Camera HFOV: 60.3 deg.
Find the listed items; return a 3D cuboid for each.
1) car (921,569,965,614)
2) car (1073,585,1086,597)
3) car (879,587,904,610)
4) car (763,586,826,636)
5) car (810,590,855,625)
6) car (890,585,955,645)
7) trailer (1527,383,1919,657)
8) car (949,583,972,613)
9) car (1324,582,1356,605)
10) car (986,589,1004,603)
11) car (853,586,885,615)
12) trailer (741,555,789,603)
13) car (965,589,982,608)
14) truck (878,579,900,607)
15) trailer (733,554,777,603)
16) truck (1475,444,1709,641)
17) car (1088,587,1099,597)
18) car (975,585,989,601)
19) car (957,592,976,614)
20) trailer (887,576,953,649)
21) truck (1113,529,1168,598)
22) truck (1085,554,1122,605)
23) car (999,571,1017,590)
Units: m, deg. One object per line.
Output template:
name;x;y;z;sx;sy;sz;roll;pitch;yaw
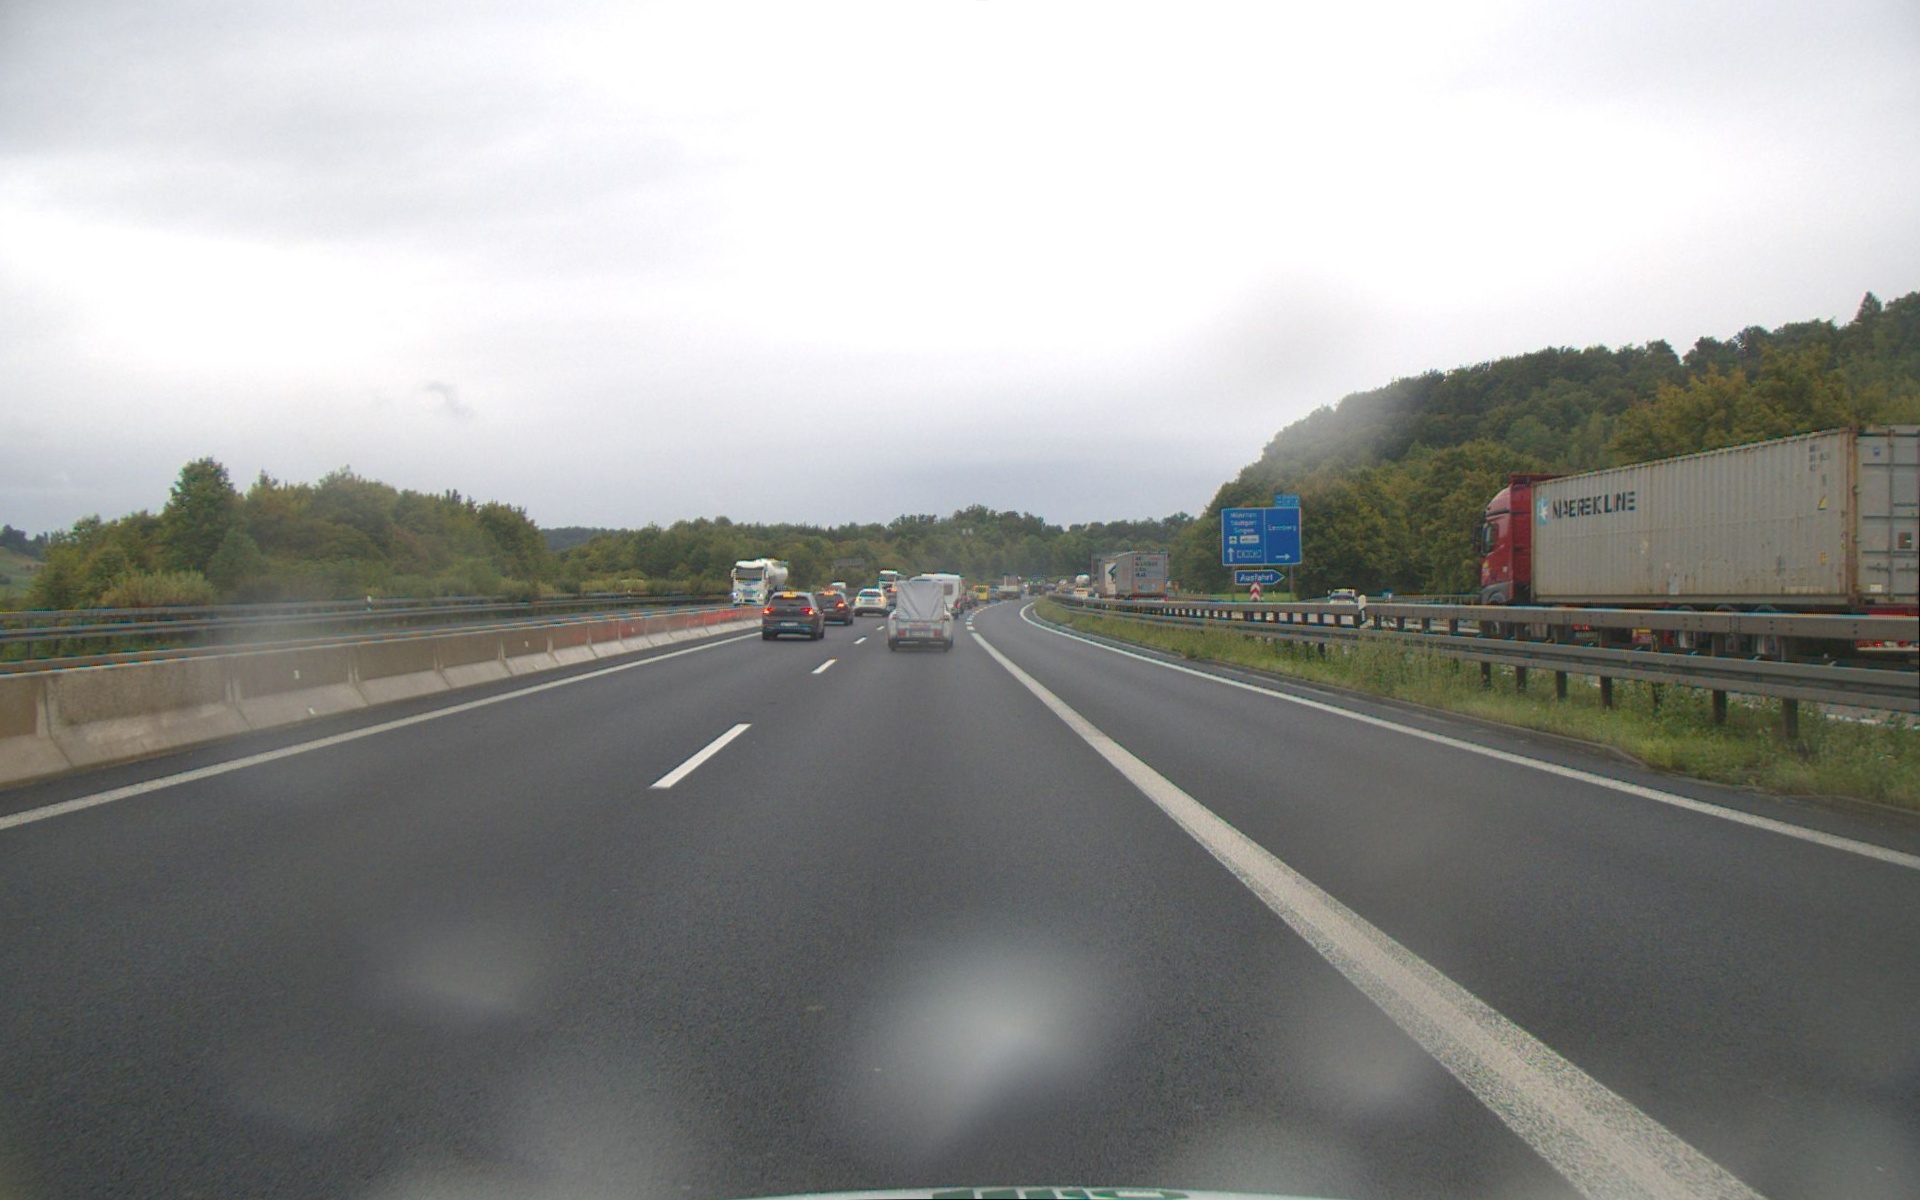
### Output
car;-0.967;-0.499;98.569;2.456;2.630;5.700;0;0;1
car;15.246;-1.133;210.601;1.640;1.481;4.002;0;0;5
car;-5.026;-0.114;121.603;1.740;1.669;4.042;0;0;-1
car;-5.154;0.335;51.790;1.642;1.481;3.999;0;0;-1
car;-5.648;0.328;73.624;1.729;1.481;3.999;0;0;-1
car;-1.045;0.402;47.895;1.781;1.644;4.777;0;0;0
trailer;13.963;-1.153;30.231;2.551;3.962;12.485;0;0;-2
car;0.008;-0.132;119.761;1.641;2.103;3.999;0;0;-1
car;24.214;-0.400;105.303;1.641;1.481;4.001;0;0;19
car;4.419;-0.536;206.961;1.994;1.712;4.002;0;0;5
car;-5.410;0.013;98.857;1.740;1.669;4.042;0;0;-1
trailer;-16.170;-1.704;137.925;2.582;3.801;10.812;0;0;1
car;1.321;-0.123;162.914;1.641;1.844;4.000;0;0;1
truck;-9.900;-0.967;231.160;2.828;3.814;5.943;0;0;-1
trailer;-16.291;-1.697;131.797;2.582;3.780;6.493;0;0;1
truck;13.735;-1.152;36.525;2.563;3.952;6.389;0;0;-2
car;20.329;-1.191;252.615;1.640;1.481;4.002;0;0;5
car;2.528;-0.831;190.381;1.641;1.844;4.000;0;0;1
car;0.605;0.271;146.203;1.641;1.844;4.000;0;0;1
trailer;-1.018;0.324;44.062;1.641;1.844;4.000;0;0;0
truck;13.161;-2.543;121.501;3.148;4.748;13.037;0;0;3
truck;13.842;-1.908;160.365;3.148;4.748;13.037;0;0;3
car;6.874;-2.725;236.254;2.463;2.619;5.314;0;0;3
